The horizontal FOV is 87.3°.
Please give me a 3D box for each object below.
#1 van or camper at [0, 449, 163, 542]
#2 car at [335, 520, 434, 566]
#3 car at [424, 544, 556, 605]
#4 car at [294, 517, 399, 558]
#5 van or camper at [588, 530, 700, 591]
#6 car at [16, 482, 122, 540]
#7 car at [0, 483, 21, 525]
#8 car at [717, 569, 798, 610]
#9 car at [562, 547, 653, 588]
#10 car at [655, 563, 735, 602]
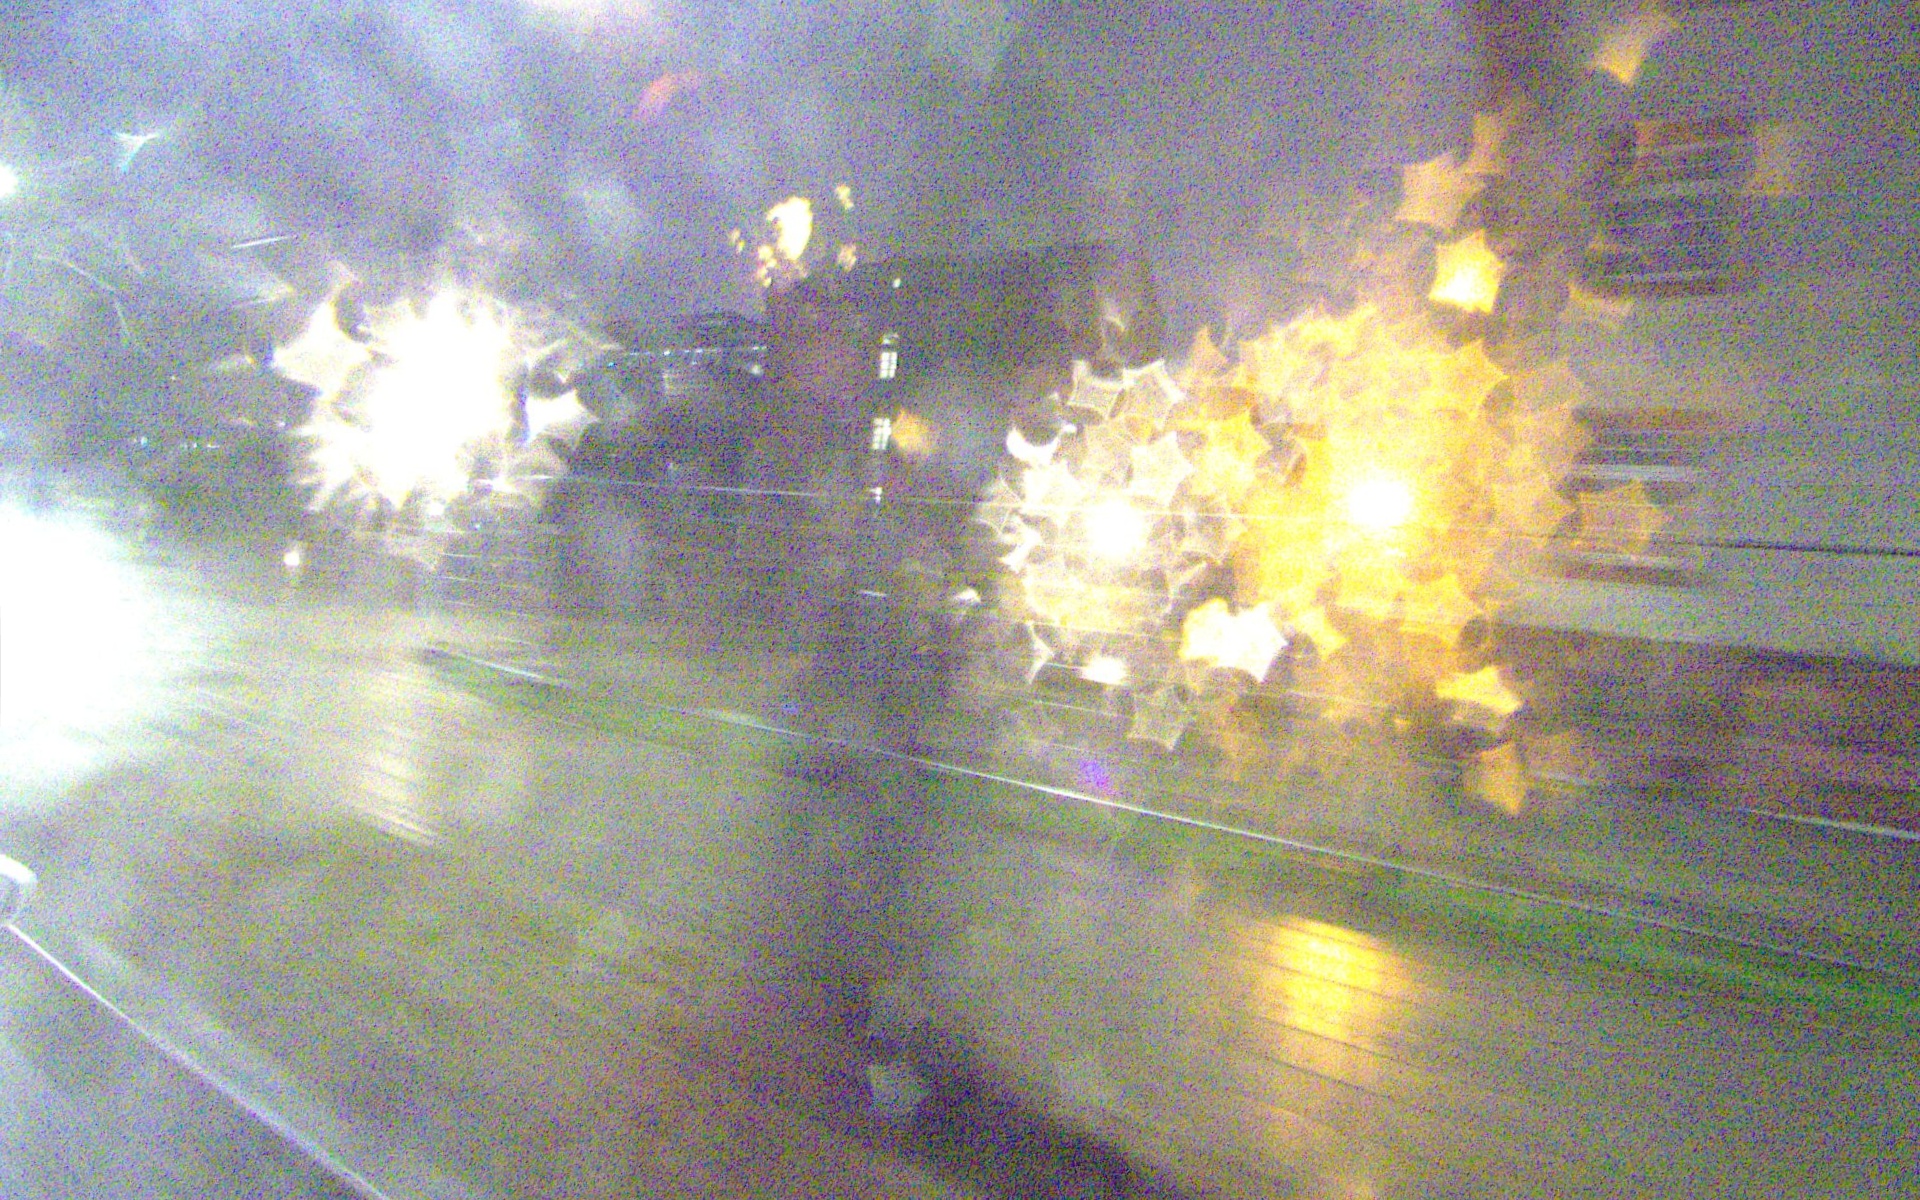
[{"bbox_3d":[-31.621,-3.681,35.402,2.135,2.558,5.067,7,0,32],"label":"van or camper"},{"bbox_3d":[-23.651,-2.341,41.297,4.190,1.431,1.680,7,0,32],"label":"car"},{"bbox_3d":[-15.563,-0.855,33.296,4.188,1.485,1.829,6,-2,31],"label":"car"},{"bbox_3d":[-29.570,-2.994,48.625,1.652,1.370,3.994,7,0,28],"label":"car"},{"bbox_3d":[-16.836,-2.057,53.905,2.342,2.585,5.384,6,0,30],"label":"van or camper"},{"bbox_3d":[-28.925,-2.891,32.653,3.350,1.488,1.564,7,1,31],"label":"car"},{"bbox_3d":[-38.617,-3.915,38.144,1.656,1.540,3.994,7,0,28],"label":"car"},{"bbox_3d":[-10.173,-0.522,50.774,1.641,1.636,3.992,6,0,30],"label":"car"},{"bbox_3d":[-20.131,-1.830,57.623,1.876,1.828,4.657,6,0,31],"label":"car"},{"bbox_3d":[-14.005,-0.922,53.394,1.641,1.636,3.992,6,0,30],"label":"car"}]
